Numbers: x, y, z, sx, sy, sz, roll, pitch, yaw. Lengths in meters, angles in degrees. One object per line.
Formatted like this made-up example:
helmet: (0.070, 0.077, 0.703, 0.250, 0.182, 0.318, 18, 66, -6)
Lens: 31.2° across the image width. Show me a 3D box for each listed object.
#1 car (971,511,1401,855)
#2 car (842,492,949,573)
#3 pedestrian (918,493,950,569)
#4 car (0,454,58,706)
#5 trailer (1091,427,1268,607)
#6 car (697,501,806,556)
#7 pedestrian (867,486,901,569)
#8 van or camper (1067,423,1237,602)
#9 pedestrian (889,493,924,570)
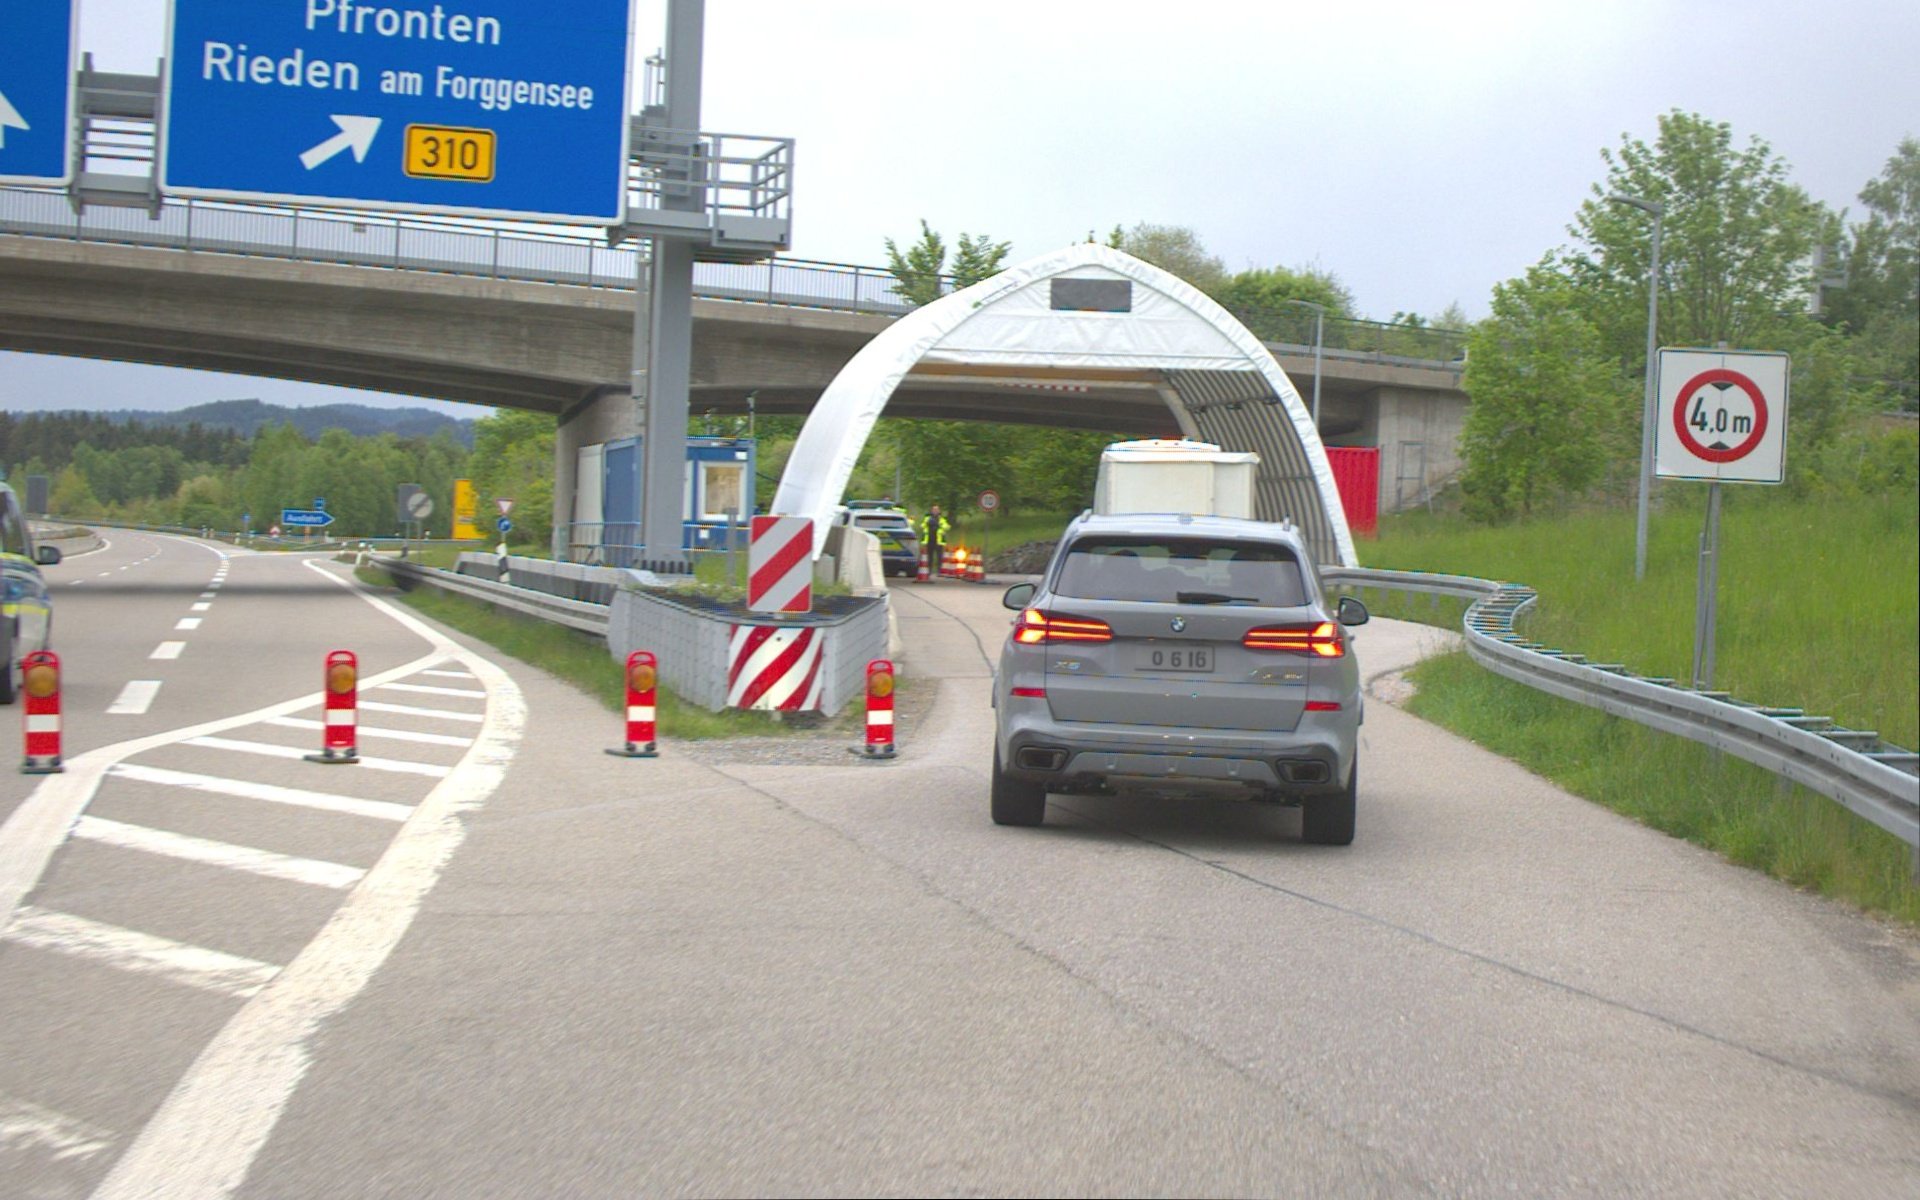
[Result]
car: (1.398, 0.389, 19.602, 1.994, 1.713, 3.998, 1, 1, 10)
car: (-1.489, -1.536, 77.589, 1.993, 1.766, 3.766, 0, 1, -8)
pedestrian: (-0.614, -1.626, 80.969, 0.648, 1.769, 0.606, 0, 1, -9)
car: (-9.074, -0.257, 29.670, 2.285, 2.006, 5.052, 1, 2, -13)
trailer: (3.135, -1.171, 50.433, 2.279, 2.422, 6.817, 1, 1, 1)
car: (-5.655, -1.946, 92.949, 1.515, 1.437, 3.315, 0, 2, -33)
pedestrian: (-1.794, -1.707, 81.099, 0.720, 1.939, 0.690, 1, 1, -7)
van or camper: (3.102, -1.404, 56.796, 2.156, 2.754, 5.872, 1, 1, -3)
pedestrian: (-1.248, -1.600, 80.118, 0.720, 1.769, 0.690, 1, 1, -7)
